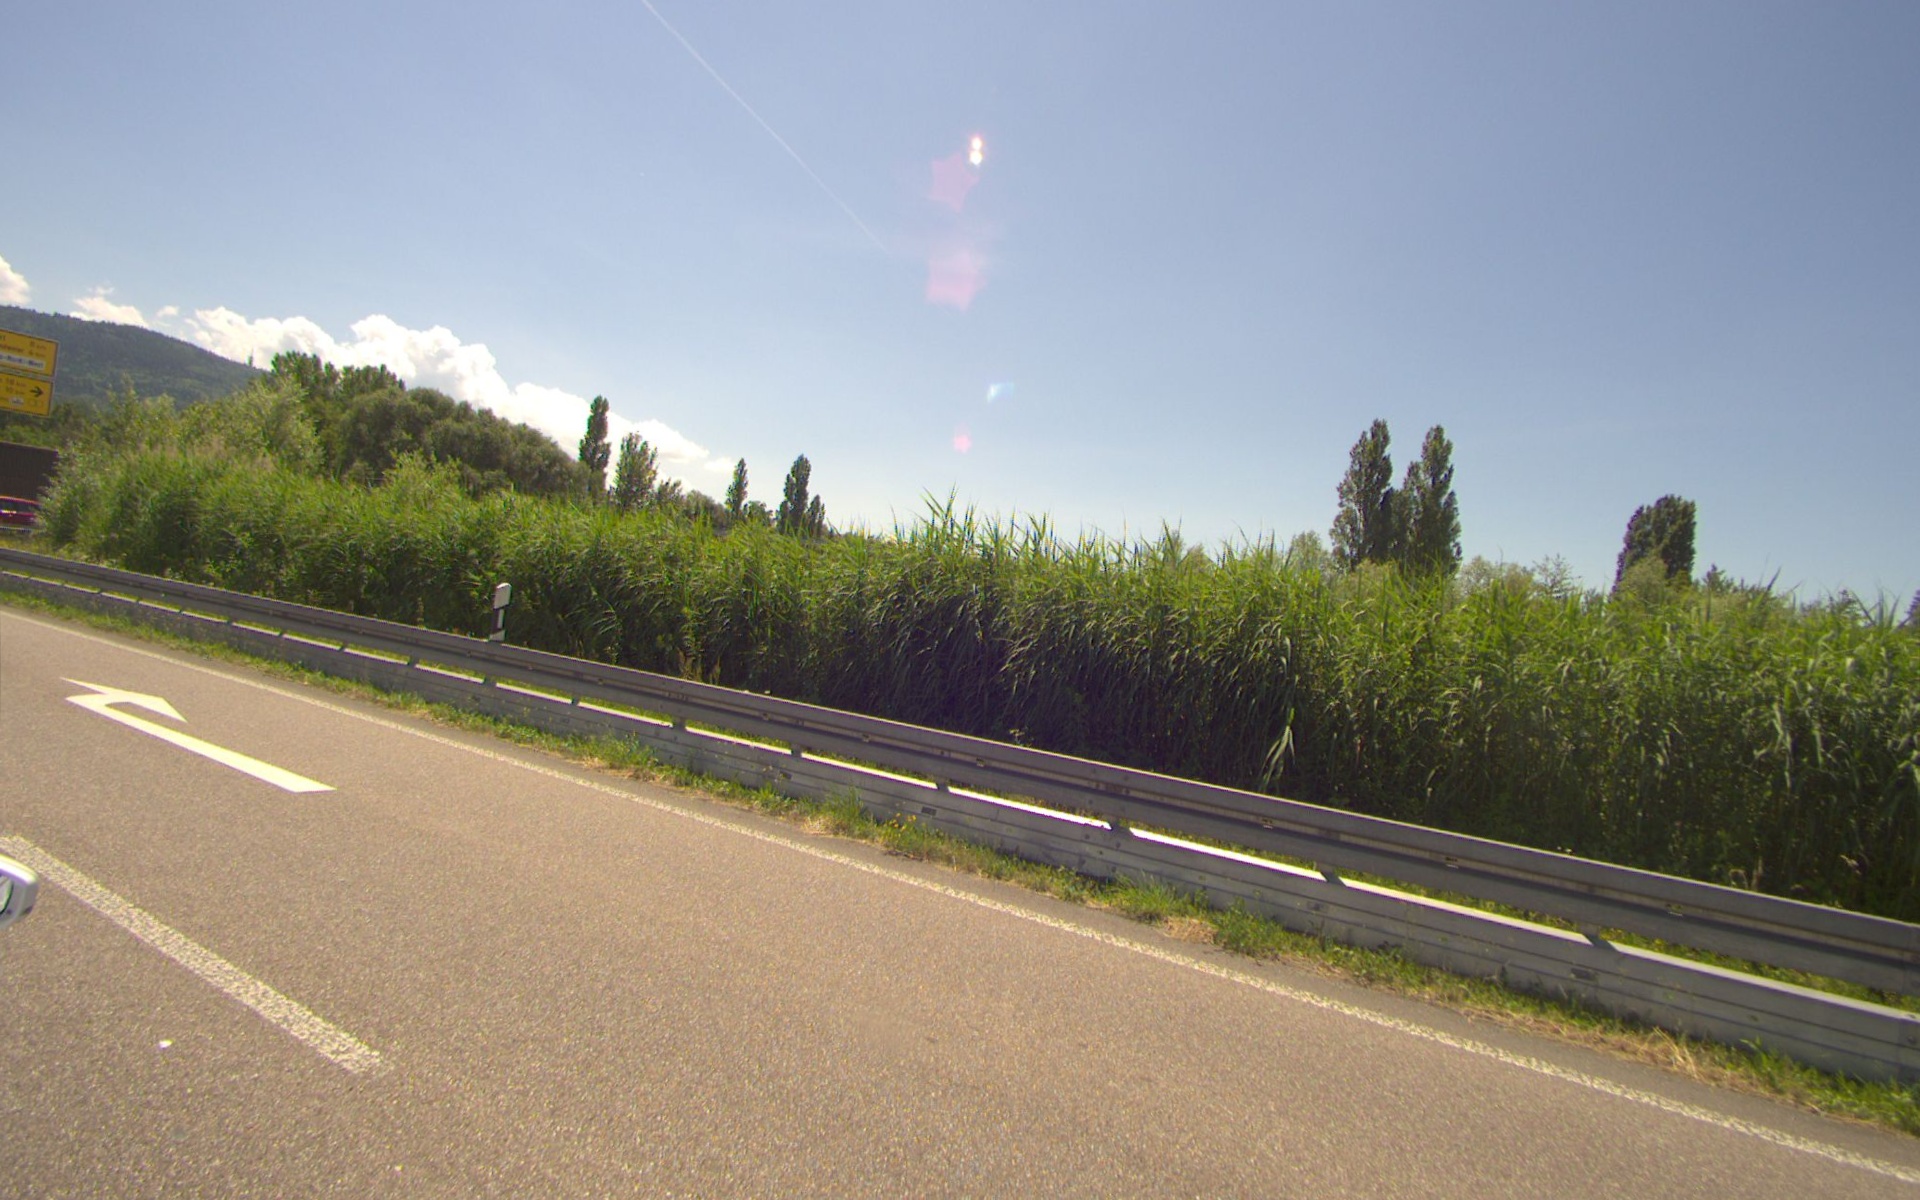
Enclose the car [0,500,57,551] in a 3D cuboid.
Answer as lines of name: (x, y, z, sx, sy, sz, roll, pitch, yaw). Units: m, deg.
car: (-36.335, -2.963, 36.882, 1.966, 1.676, 4.320, 7, -2, 28)
